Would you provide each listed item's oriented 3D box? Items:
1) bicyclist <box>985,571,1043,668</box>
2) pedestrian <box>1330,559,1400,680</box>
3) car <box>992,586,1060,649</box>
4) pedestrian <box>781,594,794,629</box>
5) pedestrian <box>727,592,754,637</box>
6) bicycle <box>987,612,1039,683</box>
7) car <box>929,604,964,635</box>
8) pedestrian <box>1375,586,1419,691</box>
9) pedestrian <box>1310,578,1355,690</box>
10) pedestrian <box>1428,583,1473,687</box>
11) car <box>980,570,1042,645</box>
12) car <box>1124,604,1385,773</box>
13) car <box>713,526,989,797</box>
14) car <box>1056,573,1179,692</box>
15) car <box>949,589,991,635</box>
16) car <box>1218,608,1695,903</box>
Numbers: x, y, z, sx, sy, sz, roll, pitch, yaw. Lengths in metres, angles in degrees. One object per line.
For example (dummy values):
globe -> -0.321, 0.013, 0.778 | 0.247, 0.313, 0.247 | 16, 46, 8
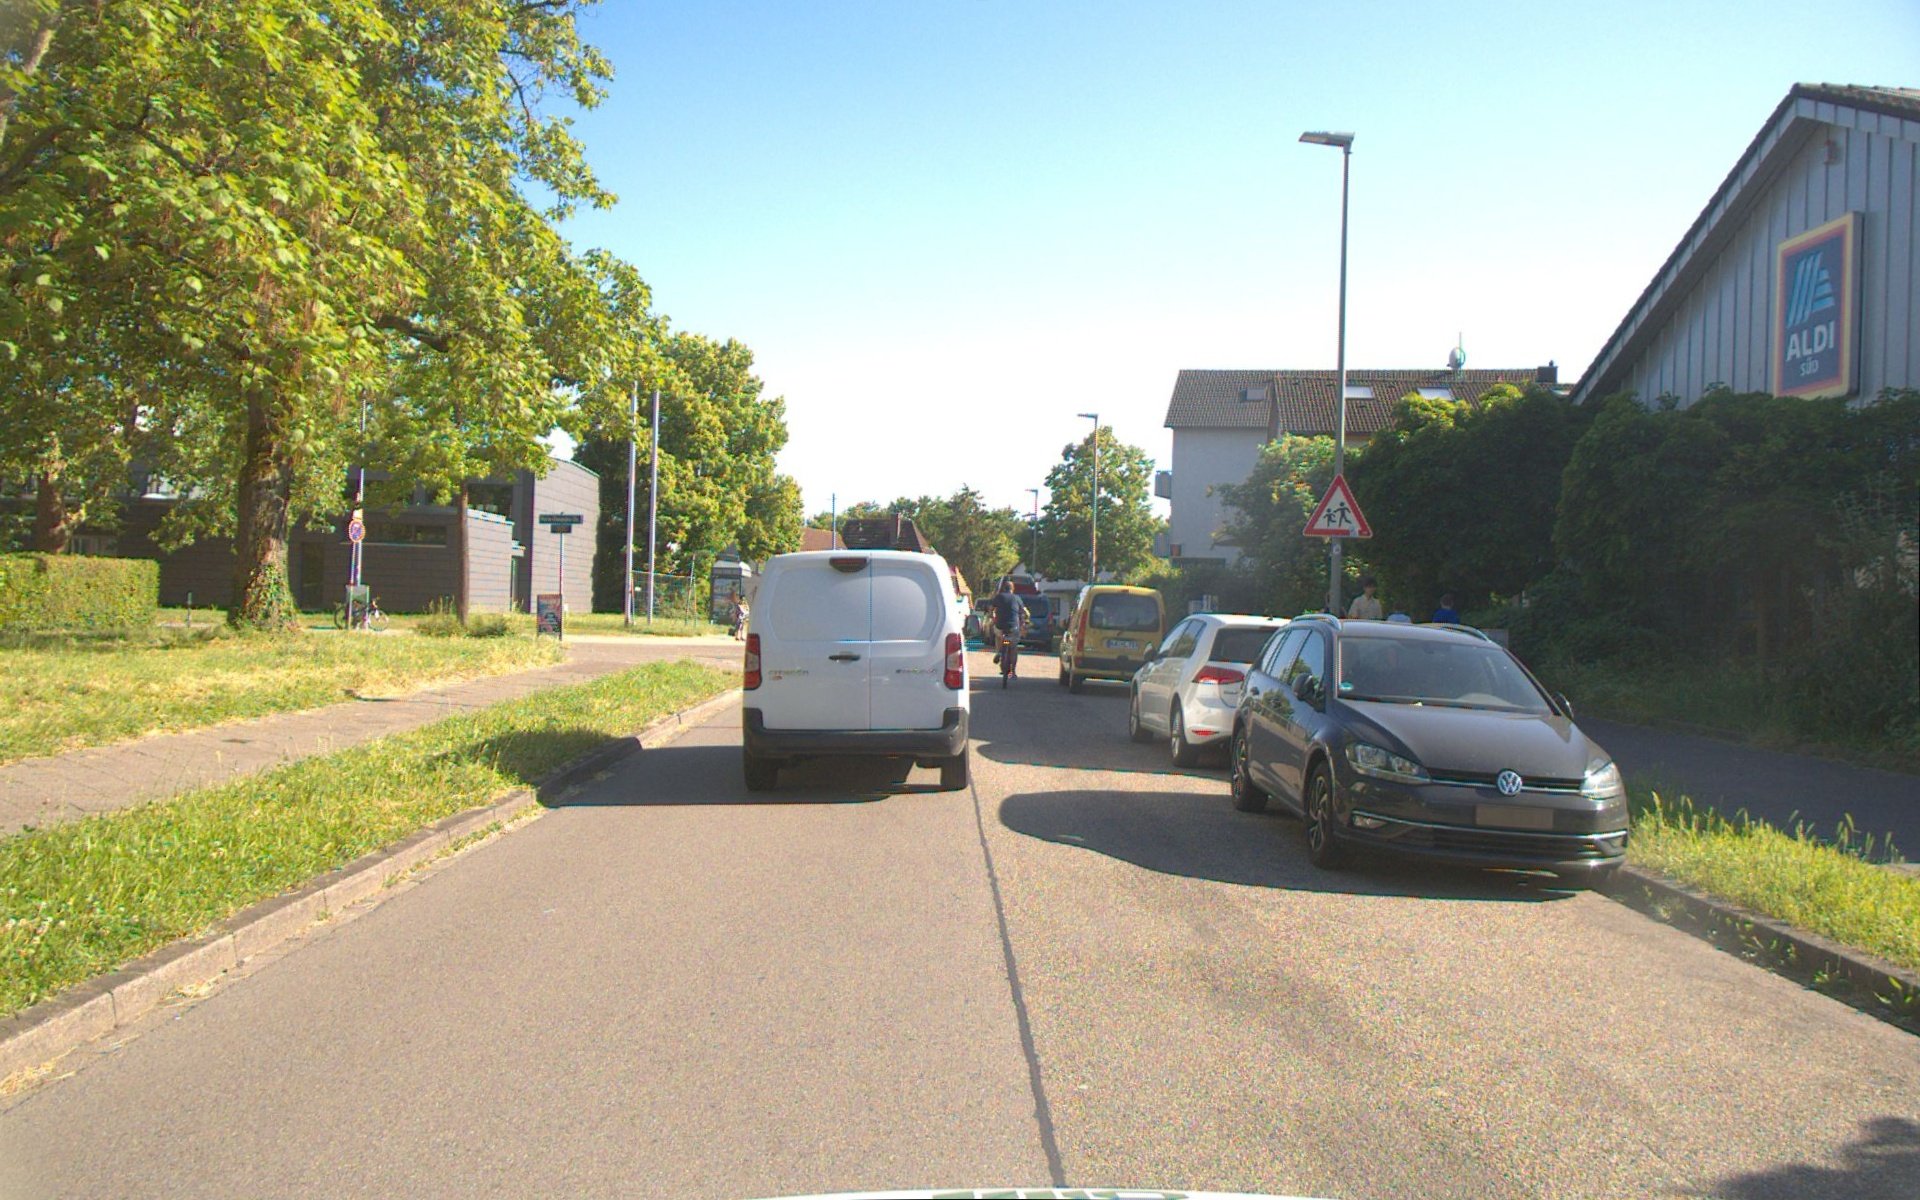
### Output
bicyclist -> 0.918, 0.335, 28.332 | 0.887, 1.612, 0.966 | 2, -1, -1
pedestrian -> 6.493, 0.311, 26.536 | 0.779, 1.894, 0.873 | 2, 0, -8
car -> 2.157, 0.579, 55.321 | 1.769, 1.816, 3.998 | 7, -1, -2
pedestrian -> -9.126, 0.623, 87.645 | 0.608, 1.836, 0.640 | 2, -1, -3
pedestrian -> -7.333, 0.488, 55.314 | 0.500, 1.470, 0.637 | 4, 0, 32
bicycle -> 0.892, 0.808, 28.310 | 0.771, 1.158, 2.279 | 0, -1, -1
car -> -0.867, 1.331, 111.820 | 1.766, 1.874, 4.002 | 4, -1, 7
pedestrian -> 7.121, 0.622, 26.950 | 0.555, 1.665, 0.547 | 2, 0, 4
pedestrian -> 5.664, 0.509, 25.148 | 0.555, 1.665, 0.547 | 2, 0, 4
pedestrian -> 7.985, 0.560, 26.913 | 0.555, 1.665, 0.547 | 2, 0, 4
car -> 1.886, 0.316, 62.538 | 1.829, 2.607, 4.765 | 4, -1, -2
car -> 2.881, 0.814, 17.051 | 1.790, 1.477, 3.998 | 2, 0, -2
car -> -0.801, 0.435, 14.183 | 1.953, 1.914, 4.288 | 2, 0, 0
car -> 2.672, 0.538, 28.791 | 1.689, 1.869, 4.000 | 2, 0, 0
car -> 0.482, 0.597, 81.656 | 1.768, 2.105, 3.998 | 4, -1, -2
car -> 2.987, 0.839, 10.991 | 1.771, 1.468, 4.362 | 2, 0, -1
